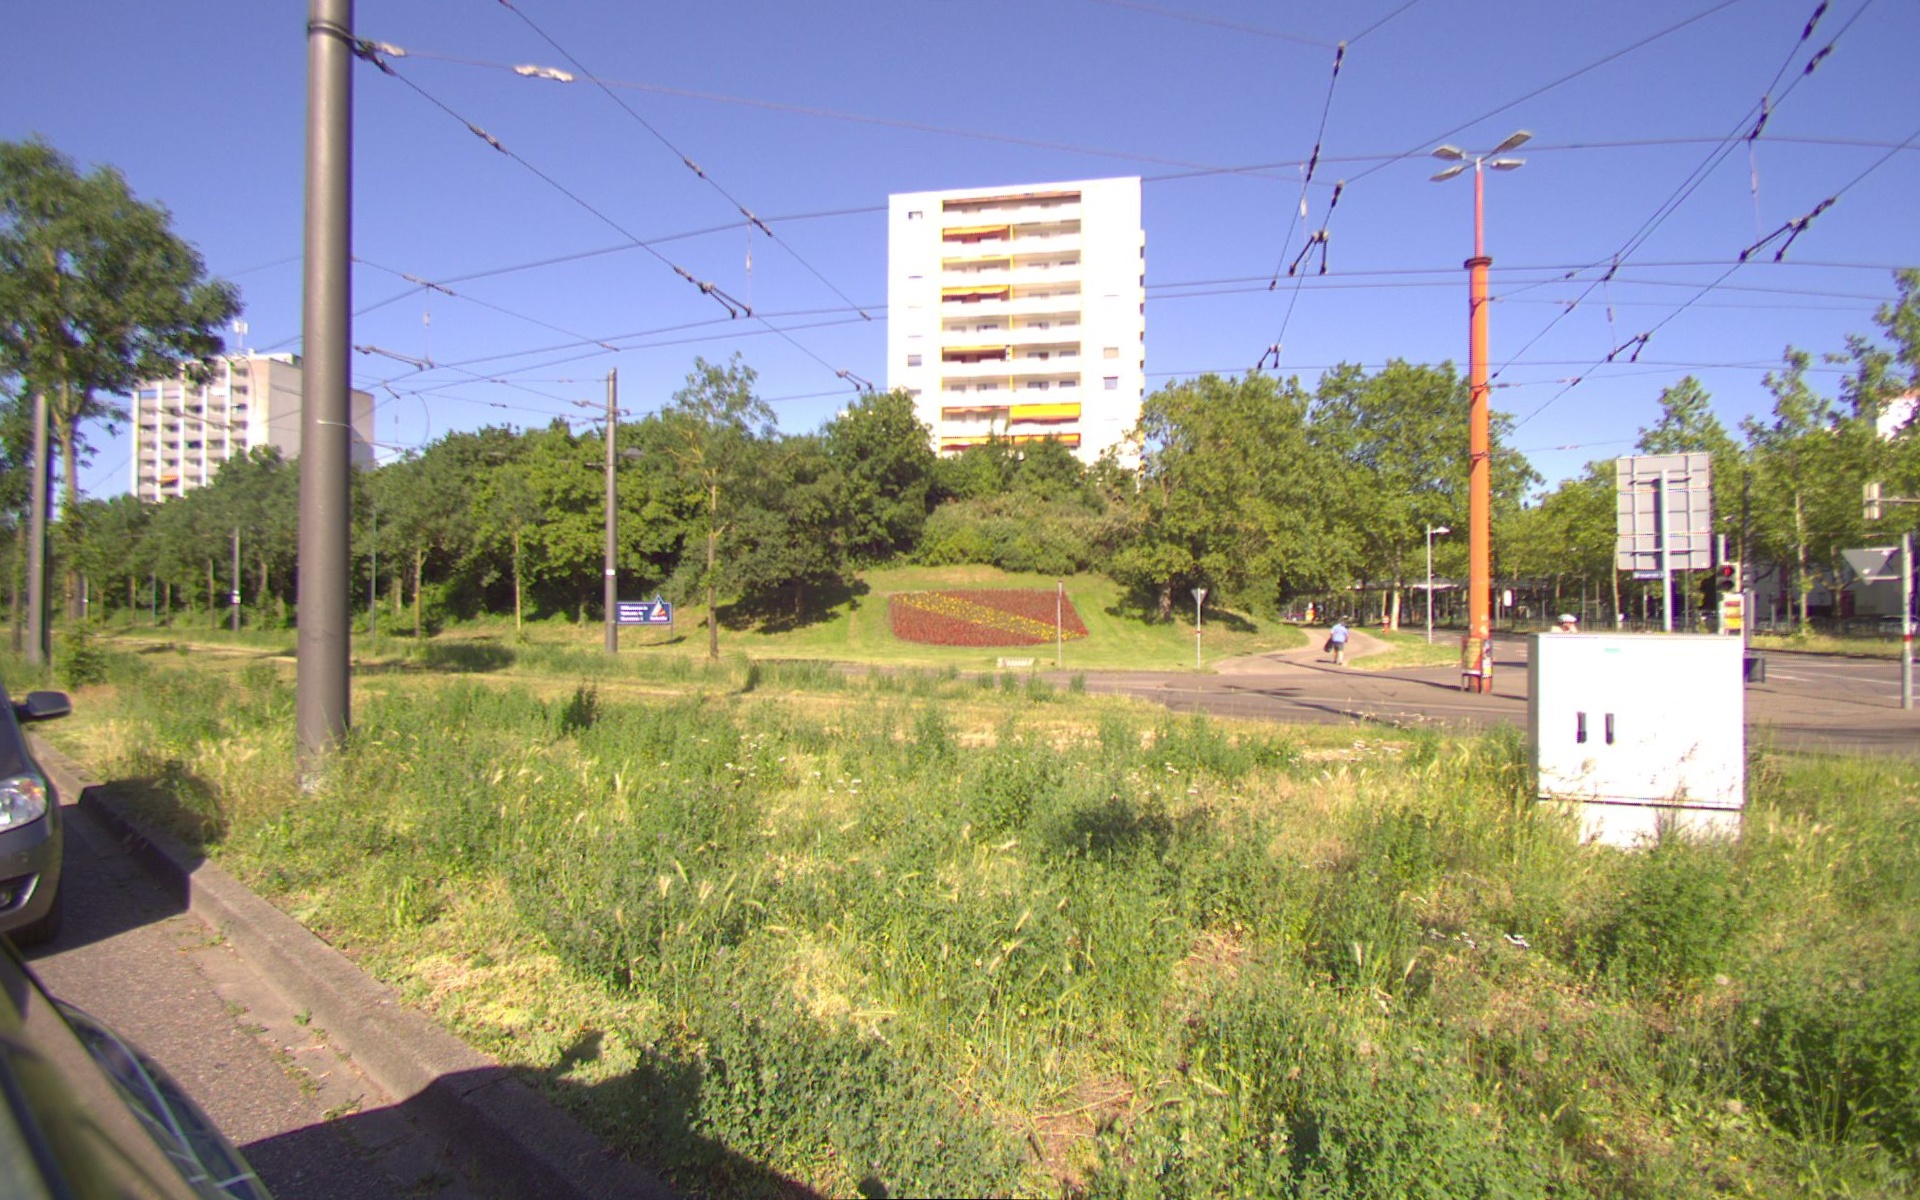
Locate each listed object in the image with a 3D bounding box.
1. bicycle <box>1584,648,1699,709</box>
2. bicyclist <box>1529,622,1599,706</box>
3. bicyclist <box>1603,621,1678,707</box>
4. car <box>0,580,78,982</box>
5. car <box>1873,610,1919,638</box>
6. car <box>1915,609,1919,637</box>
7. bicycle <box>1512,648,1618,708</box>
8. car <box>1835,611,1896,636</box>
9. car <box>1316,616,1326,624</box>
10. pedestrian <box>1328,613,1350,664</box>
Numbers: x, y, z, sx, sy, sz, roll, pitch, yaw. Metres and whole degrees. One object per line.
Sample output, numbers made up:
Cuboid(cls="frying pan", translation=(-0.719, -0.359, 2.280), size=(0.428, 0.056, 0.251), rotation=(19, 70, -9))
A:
Cuboid(cls="bicycle", translation=(13.358, 1.520, 19.909), size=(0.915, 1.095, 1.888), rotation=(0, -1, -2))
Cuboid(cls="bicyclist", translation=(12.097, 1.258, 20.295), size=(0.920, 1.650, 0.741), rotation=(0, -1, -1))
Cuboid(cls="bicyclist", translation=(13.355, 1.240, 19.876), size=(0.920, 1.650, 0.741), rotation=(0, -1, -1))
Cuboid(cls="car", translation=(-5.939, 0.752, 5.037), size=(4.382, 1.619, 1.754), rotation=(-1, -2, 41))
Cuboid(cls="car", translation=(65.251, 1.646, 69.858), size=(3.931, 1.829, 2.006), rotation=(1, -2, -27))
Cuboid(cls="car", translation=(64.408, 1.509, 65.895), size=(3.931, 1.829, 2.006), rotation=(1, -2, -27))
Cuboid(cls="bicycle", translation=(12.093, 1.535, 20.311), size=(0.915, 1.095, 1.888), rotation=(0, -1, -2))
Cuboid(cls="car", translation=(66.019, 1.703, 73.754), size=(3.931, 1.829, 2.006), rotation=(1, -2, -27))
Cuboid(cls="car", translation=(75.907, 4.148, 212.686), size=(1.928, 1.606, 3.882), rotation=(-1, -1, 20))
Cuboid(cls="pedestrian", translation=(14.443, 1.457, 38.547), size=(0.729, 1.949, 0.726), rotation=(-1, -2, 24))
